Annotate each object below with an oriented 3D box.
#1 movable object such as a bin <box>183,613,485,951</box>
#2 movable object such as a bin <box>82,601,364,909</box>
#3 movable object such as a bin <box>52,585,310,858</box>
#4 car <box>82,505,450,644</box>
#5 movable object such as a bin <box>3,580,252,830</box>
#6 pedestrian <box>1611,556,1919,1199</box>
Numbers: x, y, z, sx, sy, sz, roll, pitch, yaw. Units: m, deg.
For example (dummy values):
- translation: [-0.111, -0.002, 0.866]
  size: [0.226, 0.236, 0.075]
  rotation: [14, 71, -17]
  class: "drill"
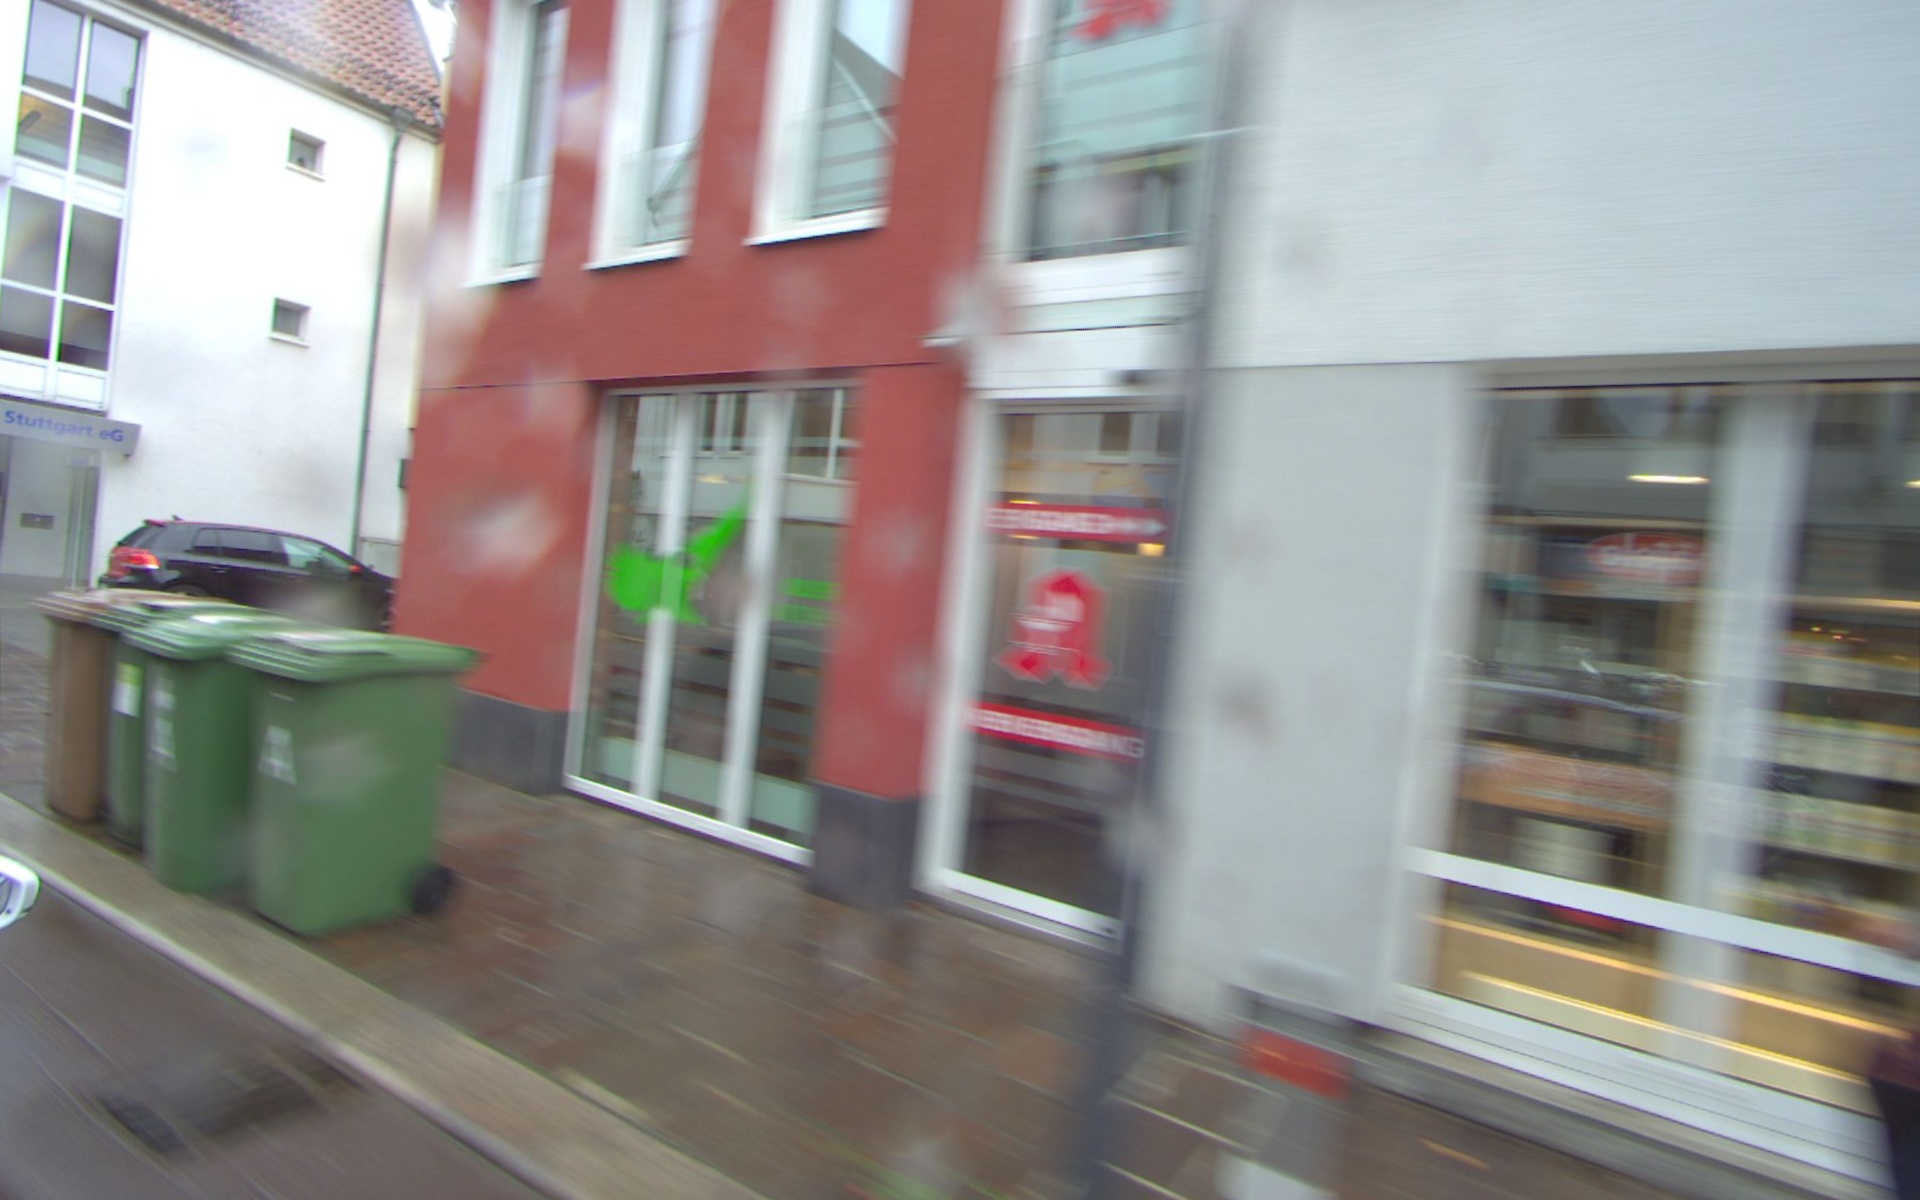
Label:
- translation: [-2.409, 0.646, 3.898]
  size: [0.706, 1.099, 0.677]
  rotation: [5, 0, 32]
  class: "movable object such as a bin"
- translation: [-3.070, 0.601, 4.210]
  size: [0.686, 1.097, 0.677]
  rotation: [5, 0, 32]
  class: "movable object such as a bin"
- translation: [-3.598, 0.531, 4.670]
  size: [0.604, 1.108, 0.711]
  rotation: [5, 0, 32]
  class: "movable object such as a bin"
- translation: [-9.849, -0.299, 14.497]
  size: [1.884, 1.534, 3.979]
  rotation: [9, 3, 41]
  class: "car"
- translation: [-4.151, 0.500, 5.036]
  size: [0.636, 1.094, 0.730]
  rotation: [5, 0, 32]
  class: "movable object such as a bin"
- translation: [2.153, 0.853, 2.024]
  size: [1.157, 1.719, 1.179]
  rotation: [6, 1, 28]
  class: "pedestrian"
